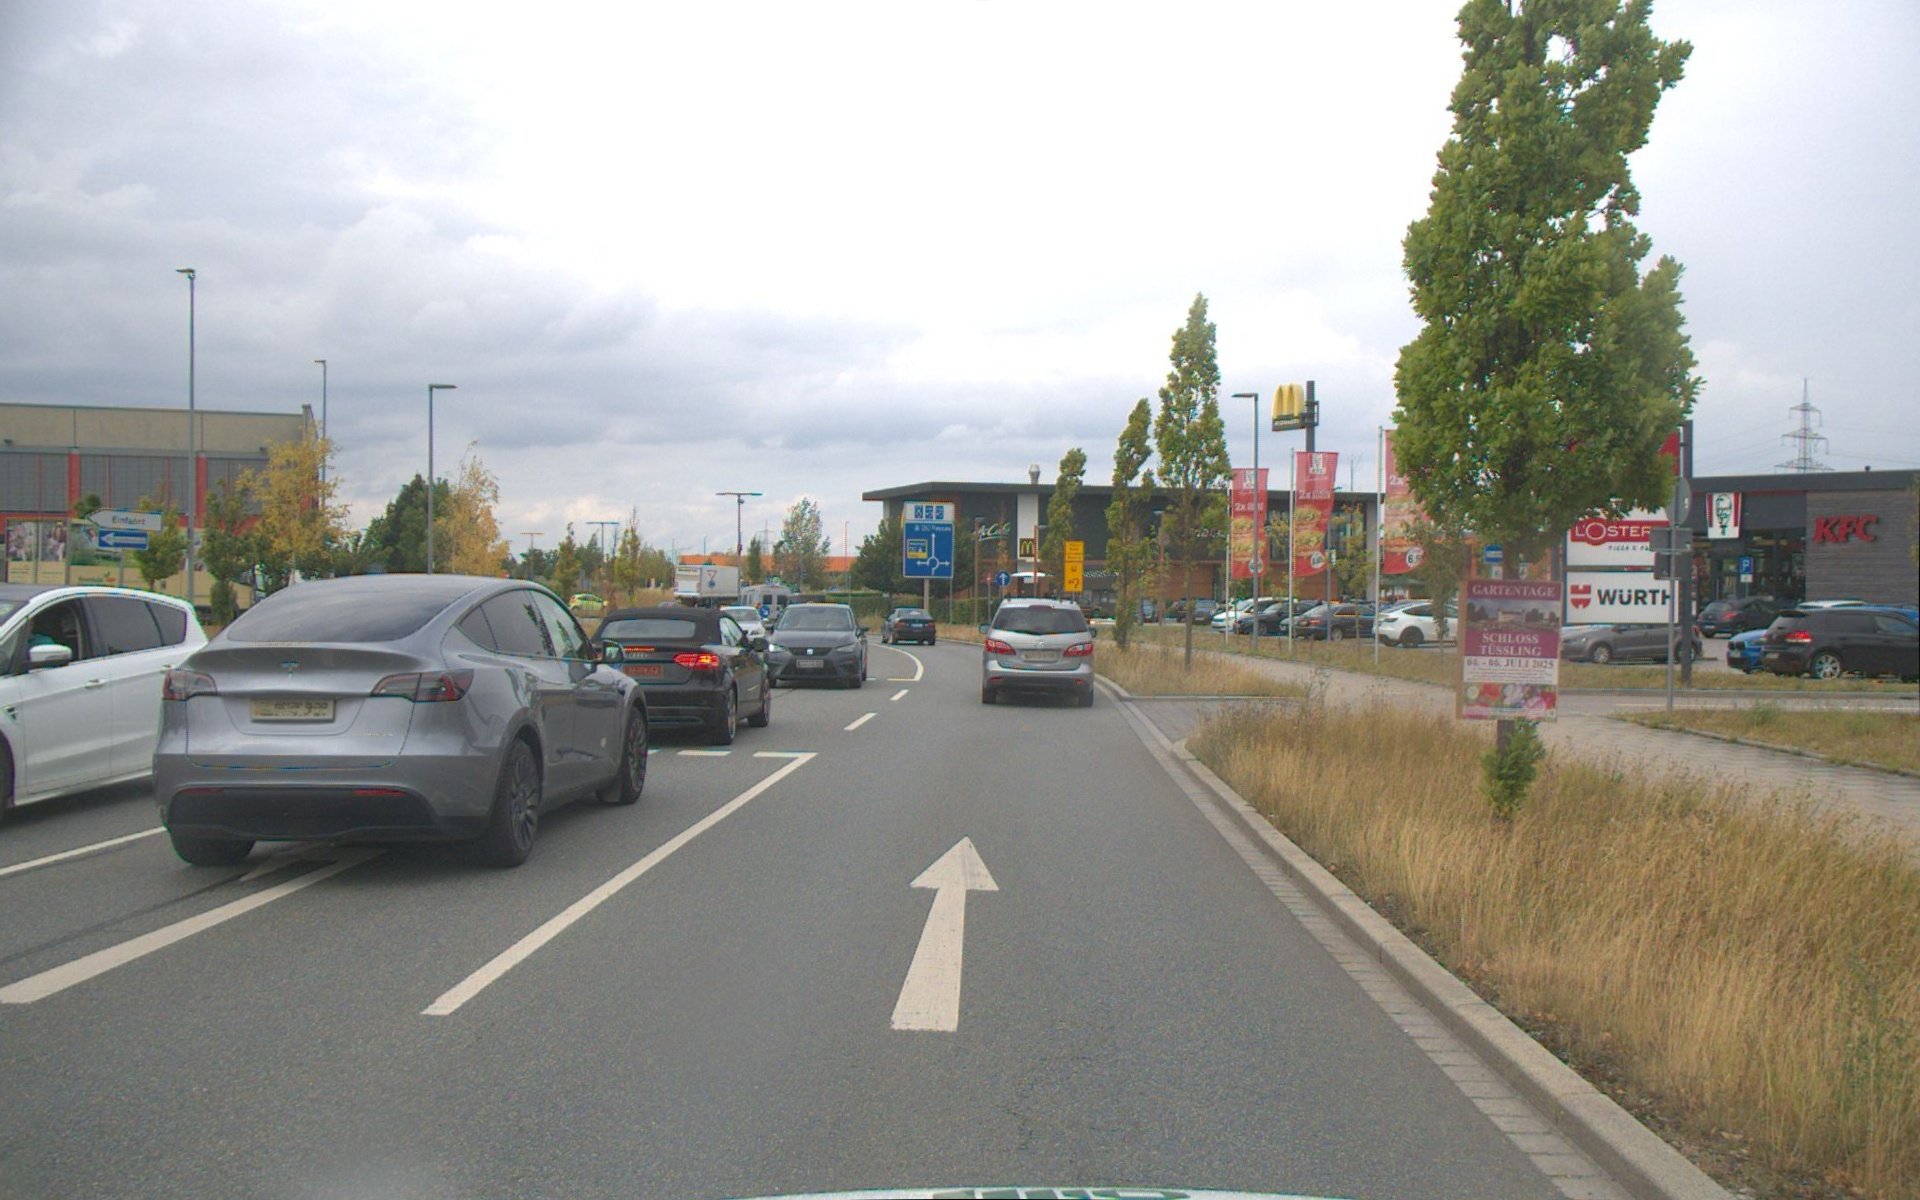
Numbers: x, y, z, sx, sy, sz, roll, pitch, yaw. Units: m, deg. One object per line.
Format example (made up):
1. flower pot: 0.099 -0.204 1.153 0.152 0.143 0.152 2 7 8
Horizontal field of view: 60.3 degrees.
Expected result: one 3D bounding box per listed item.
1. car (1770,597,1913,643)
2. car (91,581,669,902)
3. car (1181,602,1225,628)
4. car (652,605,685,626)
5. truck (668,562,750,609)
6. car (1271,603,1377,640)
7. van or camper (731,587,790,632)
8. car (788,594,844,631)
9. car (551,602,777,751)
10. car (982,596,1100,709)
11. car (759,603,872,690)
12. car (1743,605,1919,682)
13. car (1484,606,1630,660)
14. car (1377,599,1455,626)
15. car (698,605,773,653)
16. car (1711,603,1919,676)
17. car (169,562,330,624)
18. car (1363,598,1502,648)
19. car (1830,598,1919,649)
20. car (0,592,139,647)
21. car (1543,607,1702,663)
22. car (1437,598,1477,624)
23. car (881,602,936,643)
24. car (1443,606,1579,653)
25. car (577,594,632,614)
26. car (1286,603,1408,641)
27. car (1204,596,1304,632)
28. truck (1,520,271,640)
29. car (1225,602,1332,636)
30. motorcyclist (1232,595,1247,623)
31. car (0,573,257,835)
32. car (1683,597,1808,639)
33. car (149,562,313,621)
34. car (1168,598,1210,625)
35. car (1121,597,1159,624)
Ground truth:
1. car: 31.650 0.686 59.424 4.493 1.545 2.069 -1 0 -19
2. car: -3.283 0.686 10.508 1.952 1.588 4.614 0 0 1
3. car: 13.127 0.774 89.107 1.773 1.336 3.852 0 0 17
4. car: -21.621 1.123 122.480 1.961 1.542 3.982 0 0 -16
5. truck: -21.732 -1.222 143.864 3.068 3.975 9.338 0 0 19
6. car: 15.509 0.903 70.606 4.018 1.463 1.934 0 0 -17
7. van or camper: -11.601 0.539 95.891 2.269 2.550 5.174 1 0 -21
8. car: -7.525 0.633 86.162 2.025 1.858 4.764 0 0 -16
9. car: -3.148 0.778 18.392 1.733 1.463 4.230 0 -1 0
10. car: 1.250 0.778 26.259 1.694 1.628 3.808 1 0 2
11. car: -2.532 0.779 29.830 1.792 1.445 4.244 0 0 -2
12. car: 18.390 0.861 33.760 3.904 1.520 1.982 0 0 2
13. car: 18.340 0.999 50.930 3.786 1.507 1.900 -1 0 -5
14. car: 28.871 0.786 104.736 4.619 1.685 2.001 0 0 19
15. car: -7.227 0.897 53.662 1.798 1.442 4.499 -1 0 0
16. car: 19.021 0.849 36.348 4.175 1.546 1.965 0 0 0
17. car: -31.225 -0.276 72.954 6.309 2.644 2.232 0 0 -19
18. car: 17.337 0.815 60.781 4.478 1.673 2.084 -1 0 -10
19. car: 30.946 0.746 54.074 4.496 1.545 1.965 -1 0 -21
20. car: -25.322 0.525 45.796 4.150 1.460 1.995 0 0 -6
21. car: 18.420 0.956 46.117 3.683 1.520 1.889 0 0 -3
22. car: 28.882 0.644 95.968 1.910 1.469 4.219 0 0 21
23. car: -1.975 0.821 62.178 1.809 1.443 4.219 0 0 -6
24. car: 18.566 0.975 55.865 3.910 1.511 1.938 0 -1 -6
25. car: -28.385 0.340 131.944 3.939 1.542 1.983 0 0 -27
26. car: 15.806 0.894 67.645 4.442 1.494 2.024 0 0 -15
27. car: 13.820 0.647 77.861 4.284 1.668 1.926 0 0 -21
28. truck: -26.844 -0.603 54.457 2.790 3.603 8.432 1 0 18
29. car: 14.517 0.843 75.448 4.398 1.461 2.063 0 0 -18
30. motorcyclist: 19.255 0.609 113.956 0.941 1.864 0.846 1 0 16
31. car: -7.072 0.687 11.899 1.953 1.665 4.703 -2 0 0
32. car: 30.753 0.689 64.768 4.301 1.545 2.035 -1 0 -21
33. car: -29.909 -0.328 68.123 5.978 2.347 2.198 1 0 -20
34. car: 15.770 0.777 113.799 2.071 1.747 4.232 1 0 19
35. car: 12.181 0.714 111.966 1.951 1.747 4.003 1 0 15
